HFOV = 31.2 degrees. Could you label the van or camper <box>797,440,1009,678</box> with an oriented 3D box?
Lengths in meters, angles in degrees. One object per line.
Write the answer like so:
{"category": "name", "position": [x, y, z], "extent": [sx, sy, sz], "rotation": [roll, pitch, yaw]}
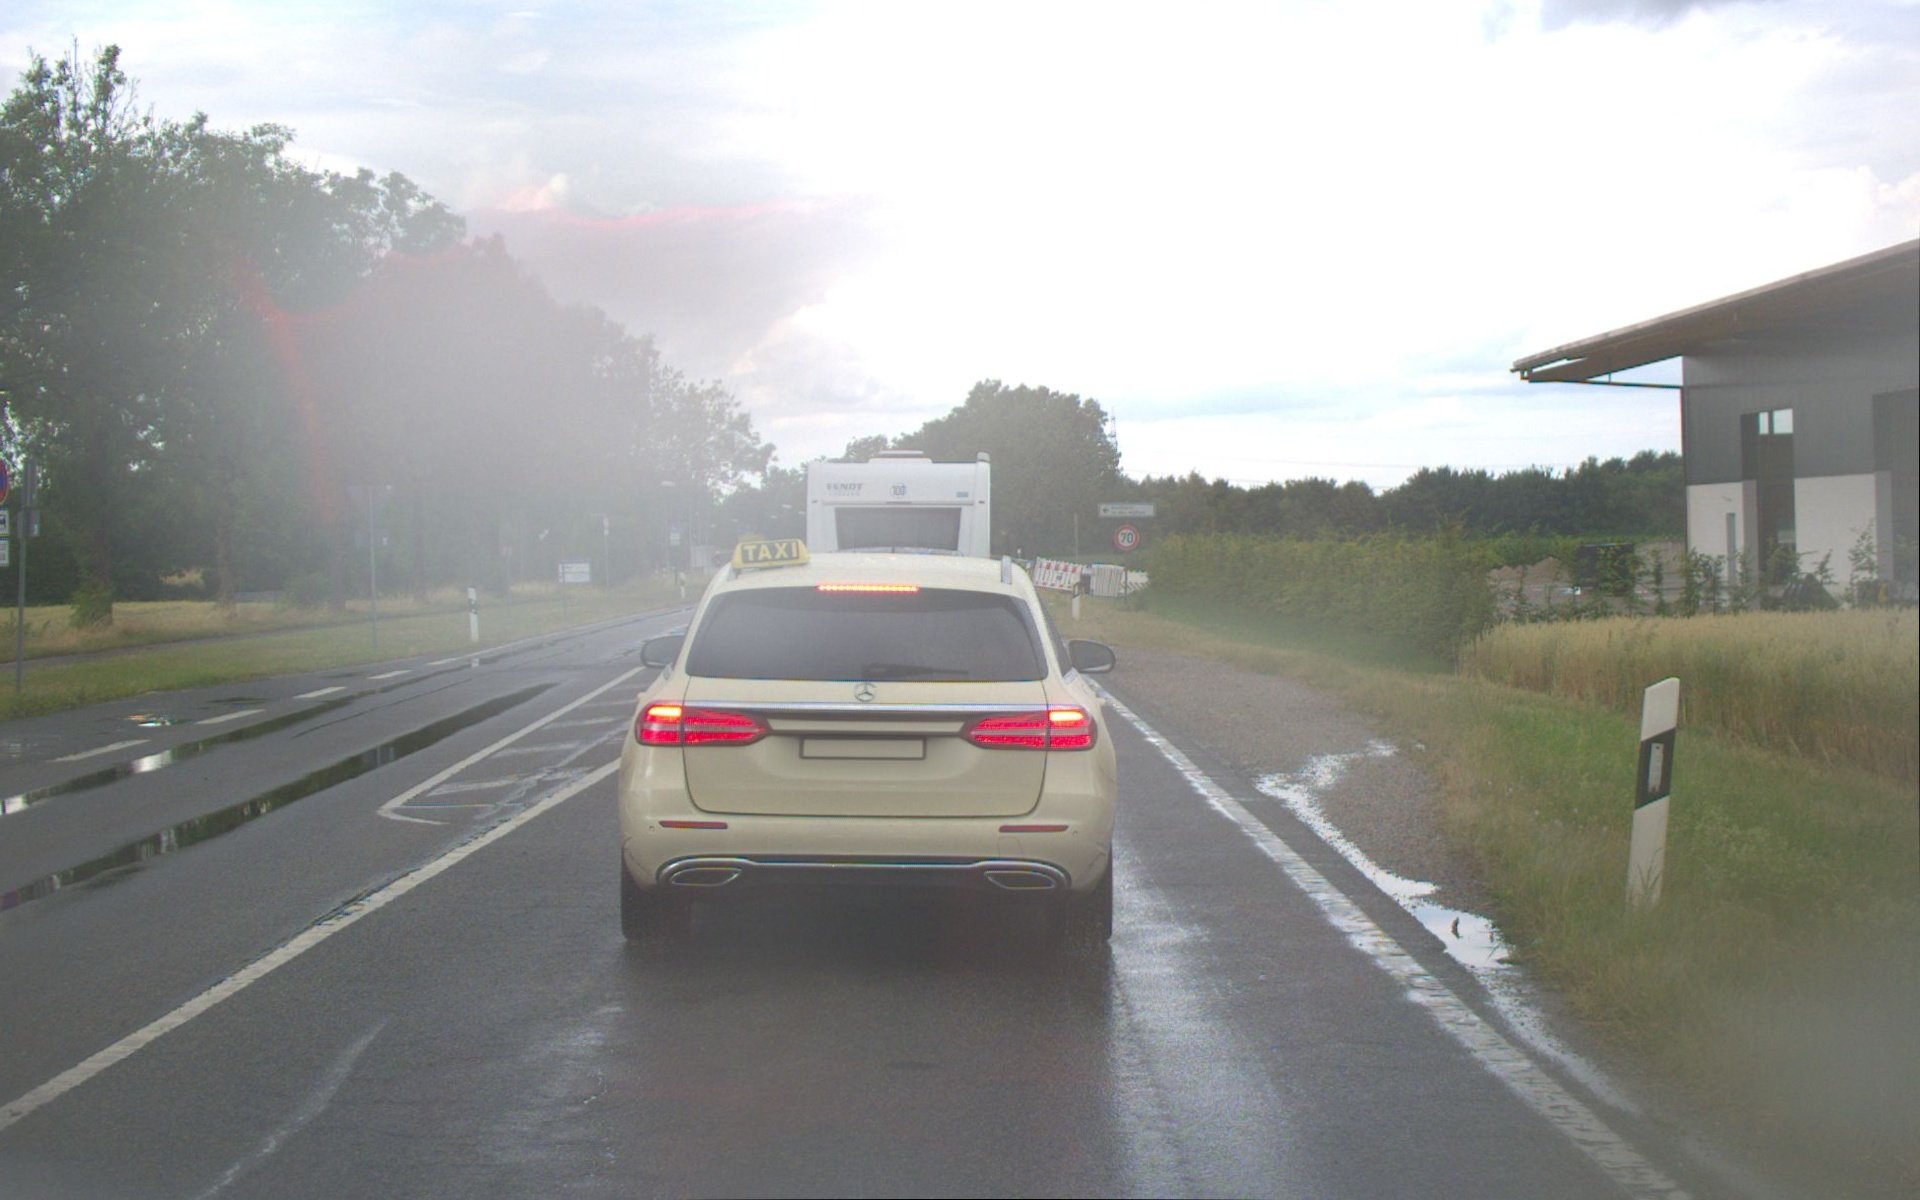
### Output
{"category": "van or camper", "position": [-0.681, -0.544, 44.894], "extent": [2.497, 2.821, 5.934], "rotation": [-2, 1, 0]}

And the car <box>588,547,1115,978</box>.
{"category": "car", "position": [-0.380, 0.527, 13.788], "extent": [1.797, 1.459, 4.031], "rotation": [0, 1, 0]}

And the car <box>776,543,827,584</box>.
{"category": "car", "position": [-6.633, -1.543, 144.143], "extent": [1.916, 1.626, 4.357], "rotation": [-2, 1, -1]}

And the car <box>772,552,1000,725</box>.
{"category": "car", "position": [-0.657, 0.288, 30.513], "extent": [1.894, 1.424, 3.928], "rotation": [0, 1, -1]}

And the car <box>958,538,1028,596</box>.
{"category": "car", "position": [0.933, -0.923, 95.812], "extent": [1.894, 1.585, 3.928], "rotation": [0, 1, 1]}
